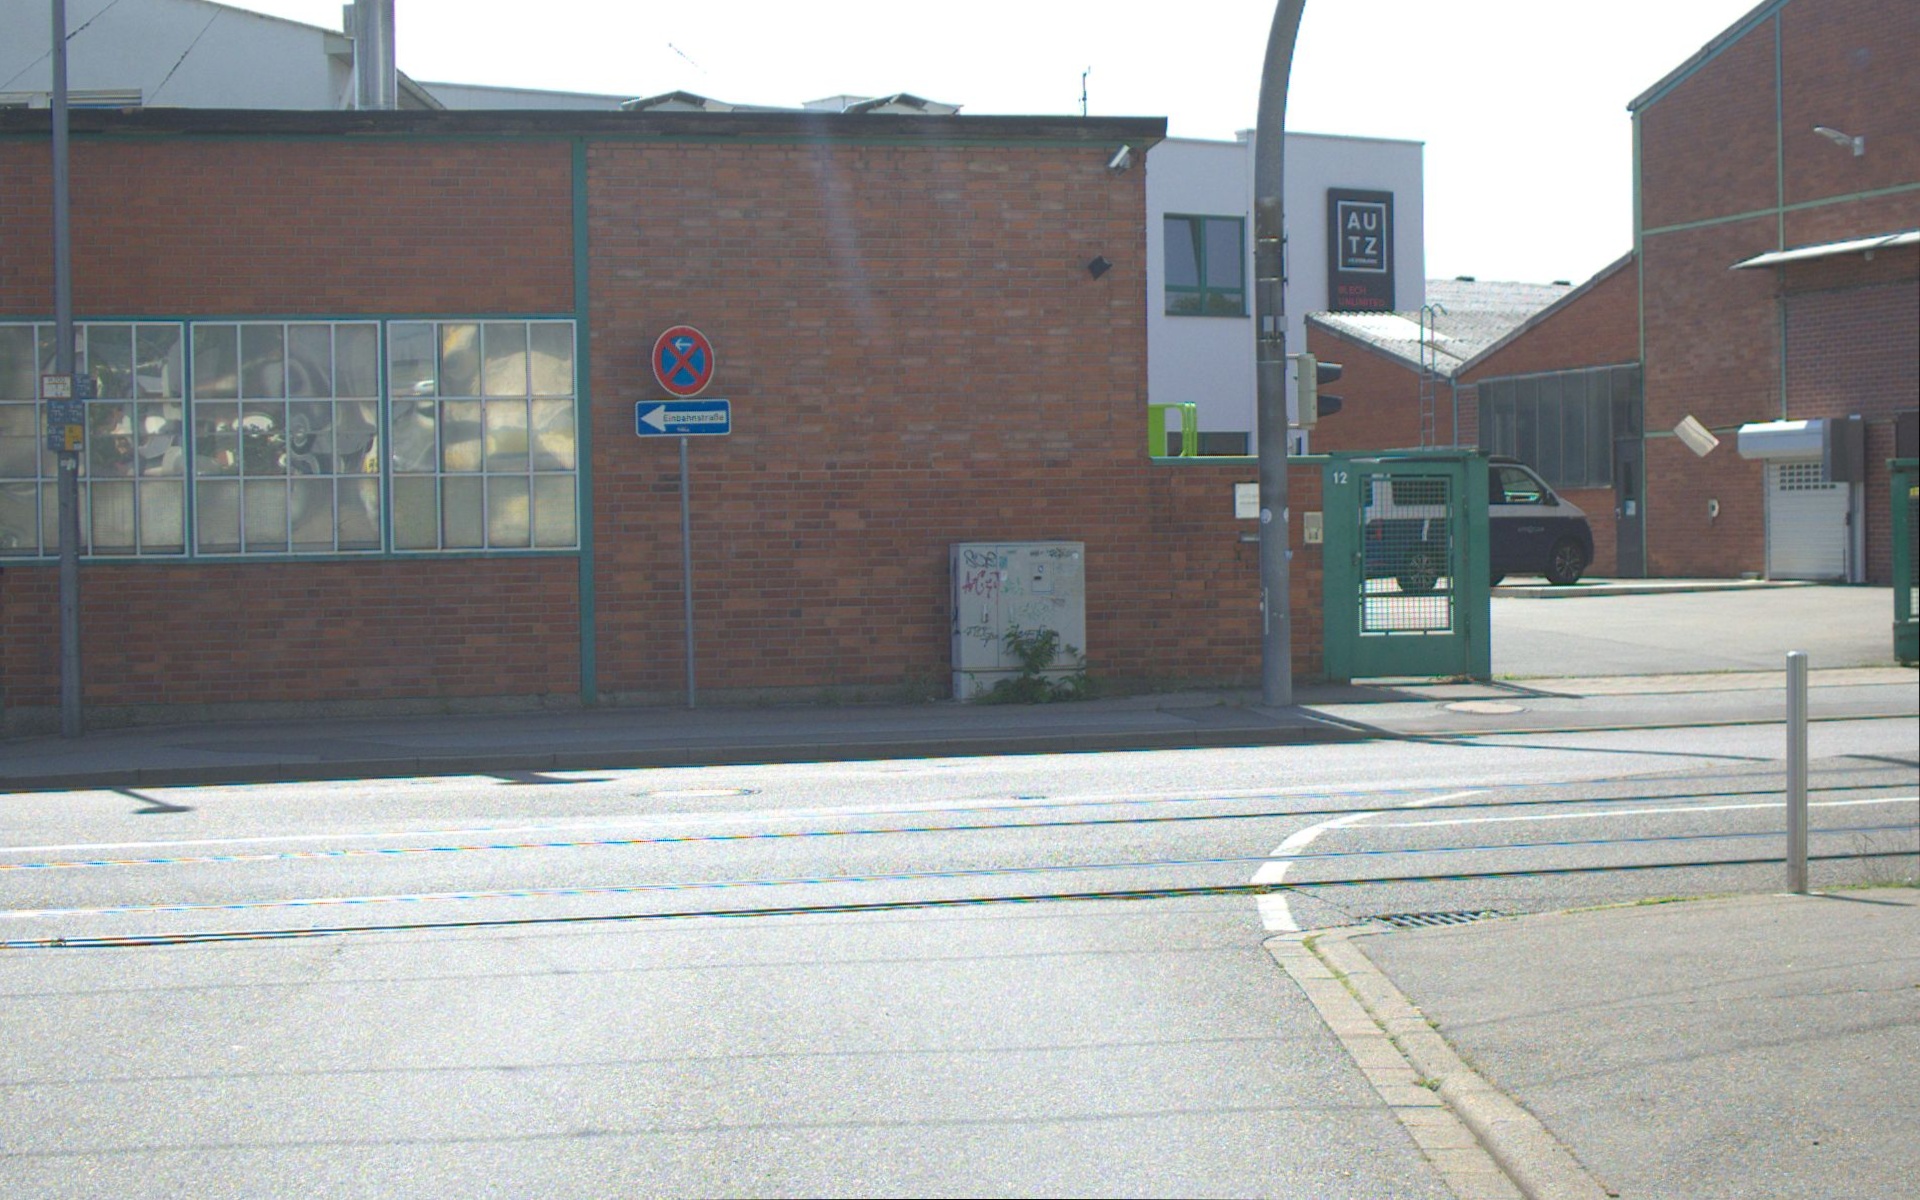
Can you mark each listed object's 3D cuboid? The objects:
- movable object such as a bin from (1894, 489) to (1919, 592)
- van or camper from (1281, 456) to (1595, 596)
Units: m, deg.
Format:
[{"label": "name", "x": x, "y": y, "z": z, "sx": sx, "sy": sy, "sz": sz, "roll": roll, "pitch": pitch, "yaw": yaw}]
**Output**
[{"label": "movable object such as a bin", "x": 12.667, "y": -0.767, "z": 43.865, "sx": 0.974, "sy": 1.309, "sz": 1.152, "roll": -1, "pitch": 1, "yaw": -17}, {"label": "van or camper", "x": 7.121, "y": -1.074, "z": 51.046, "sx": 4.407, "sy": 1.894, "sz": 2.000, "roll": 2, "pitch": 0, "yaw": -36}]
